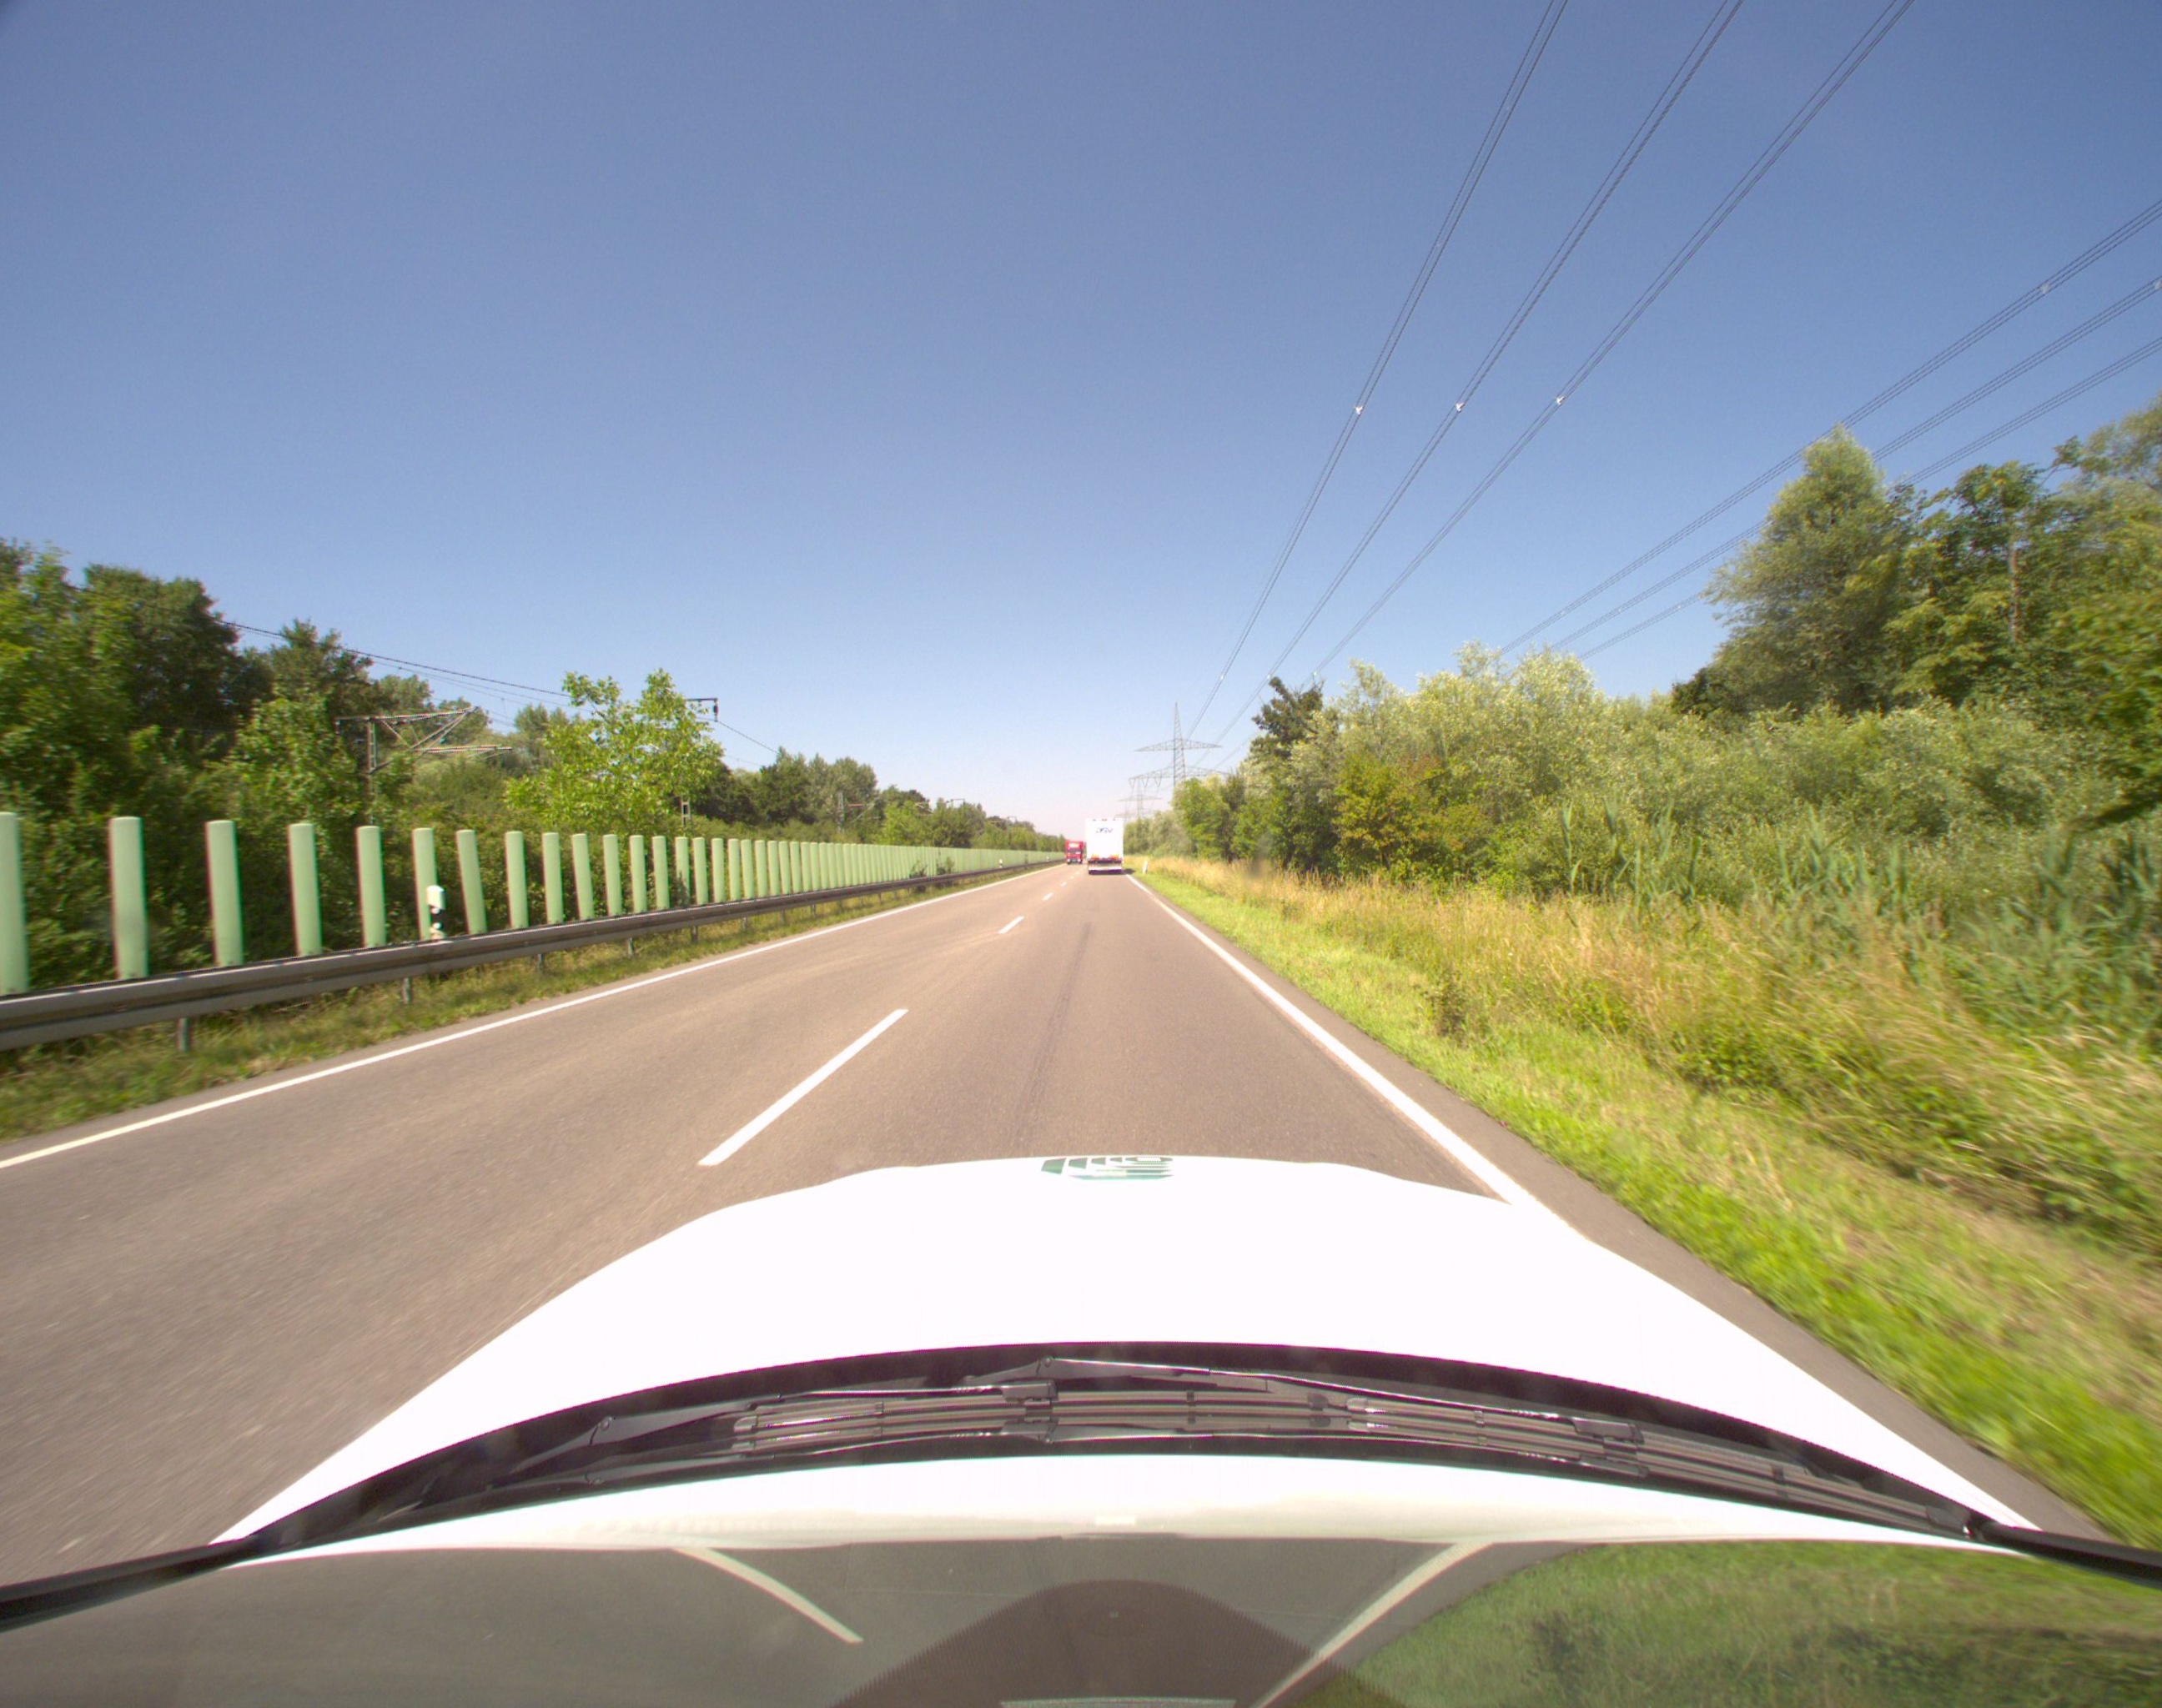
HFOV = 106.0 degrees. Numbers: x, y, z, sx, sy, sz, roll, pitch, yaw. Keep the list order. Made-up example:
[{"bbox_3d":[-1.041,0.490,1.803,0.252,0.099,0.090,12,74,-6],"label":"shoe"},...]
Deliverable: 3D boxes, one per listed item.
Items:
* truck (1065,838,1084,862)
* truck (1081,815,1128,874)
[{"bbox_3d":[-0.946,-0.646,128.197,2.725,3.599,9.525,-2,0,0],"label":"truck"},{"bbox_3d":[1.780,-0.650,63.097,3.181,4.042,12.008,-2,0,1],"label":"truck"}]
